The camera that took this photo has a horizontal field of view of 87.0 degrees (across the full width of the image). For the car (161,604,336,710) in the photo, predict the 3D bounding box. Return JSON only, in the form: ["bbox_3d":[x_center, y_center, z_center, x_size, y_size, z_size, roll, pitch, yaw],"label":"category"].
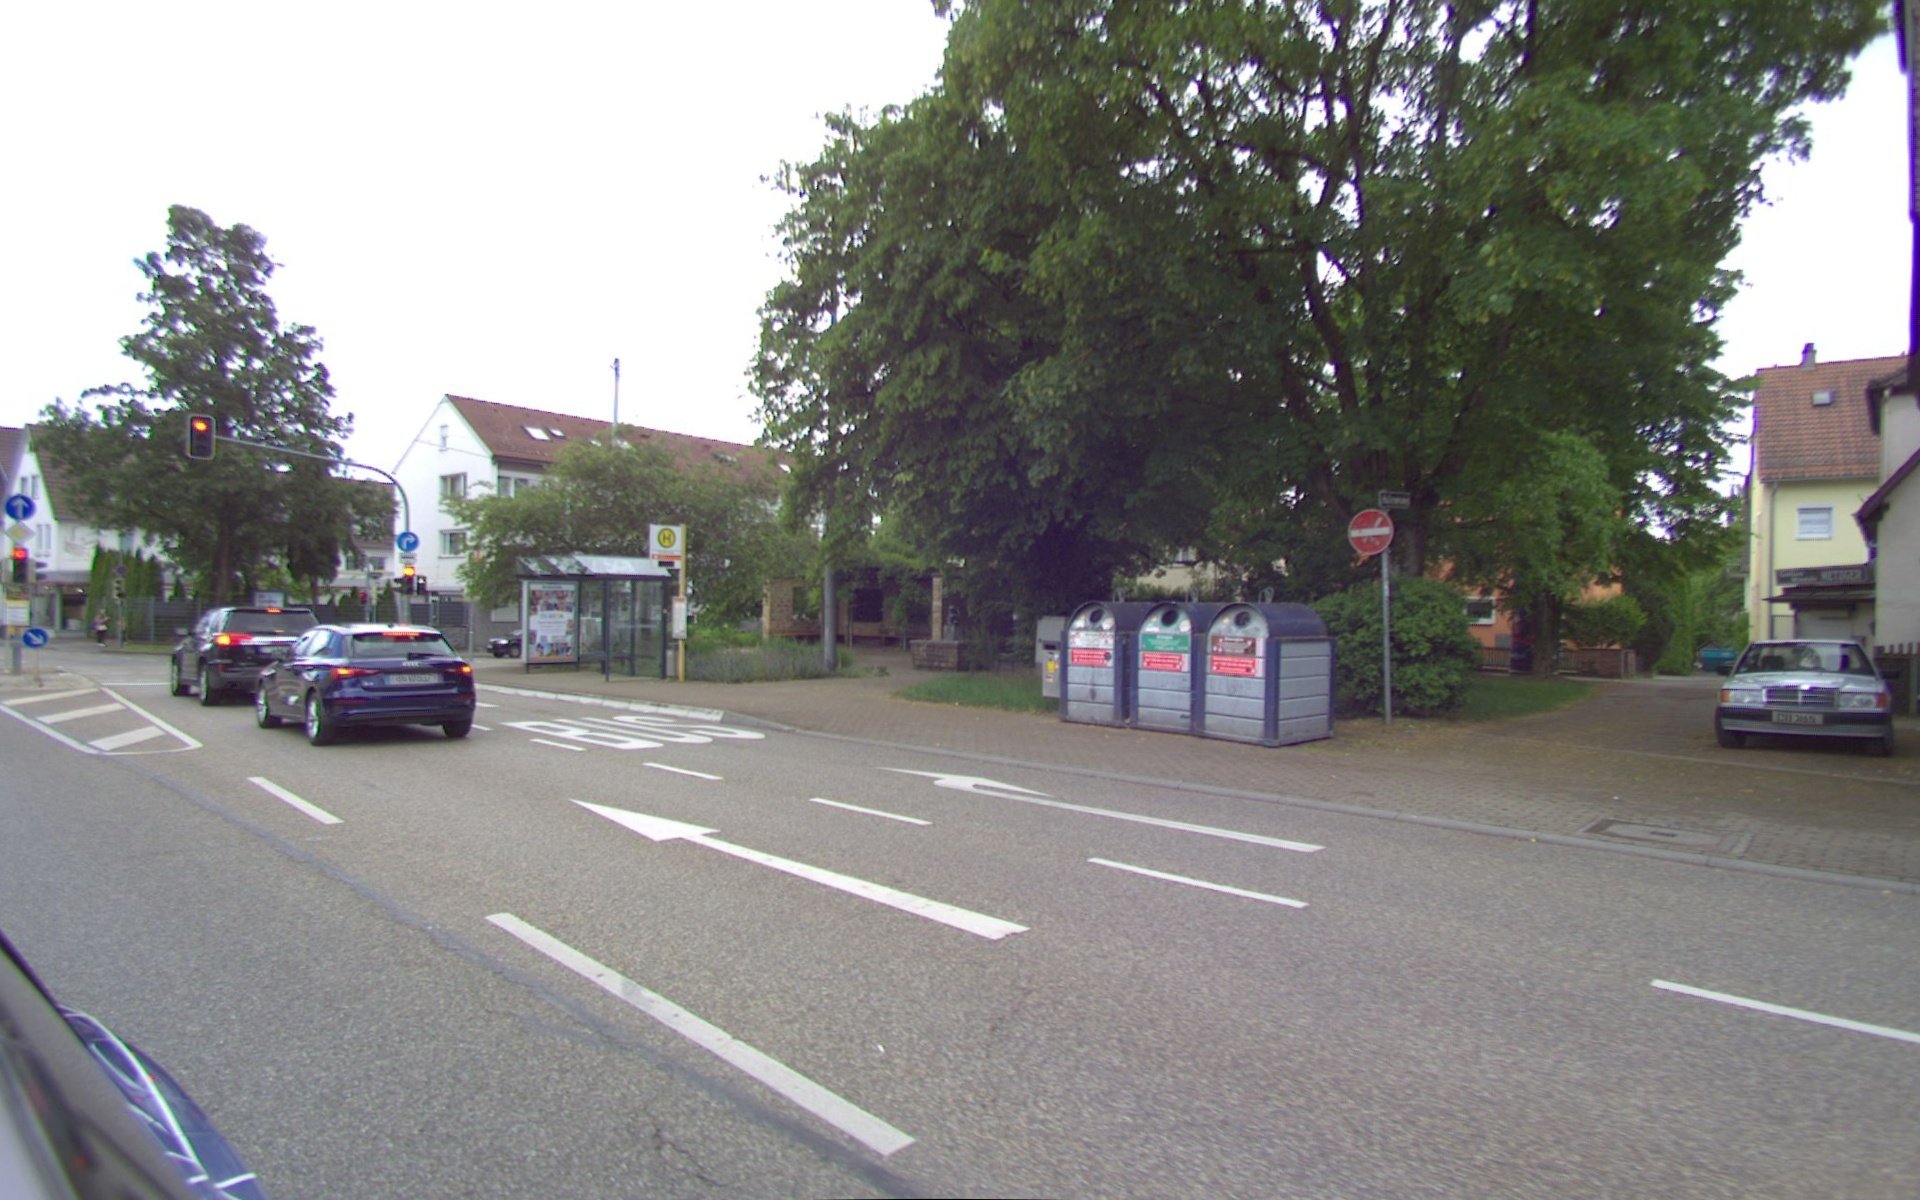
[{"bbox_3d":[-13.060,0.967,18.463,4.597,1.647,1.738,1,-2,44],"label":"car"}]

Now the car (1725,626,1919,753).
[{"bbox_3d":[11.154,1.088,13.024,1.722,1.342,3.943,1,-3,42],"label":"car"}]

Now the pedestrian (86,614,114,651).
[{"bbox_3d":[-38.772,1.442,45.619,0.861,1.617,0.637,0,0,24],"label":"pedestrian"}]

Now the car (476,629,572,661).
[{"bbox_3d":[-19.897,2.073,46.281,1.771,1.409,3.595,-1,-3,41],"label":"car"}]

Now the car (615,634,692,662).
[{"bbox_3d":[-16.573,2.624,54.876,1.756,1.409,3.595,-1,-4,41],"label":"car"}]

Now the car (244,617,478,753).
[{"bbox_3d":[-7.896,0.975,13.170,4.131,1.431,1.546,0,-1,44],"label":"car"}]
